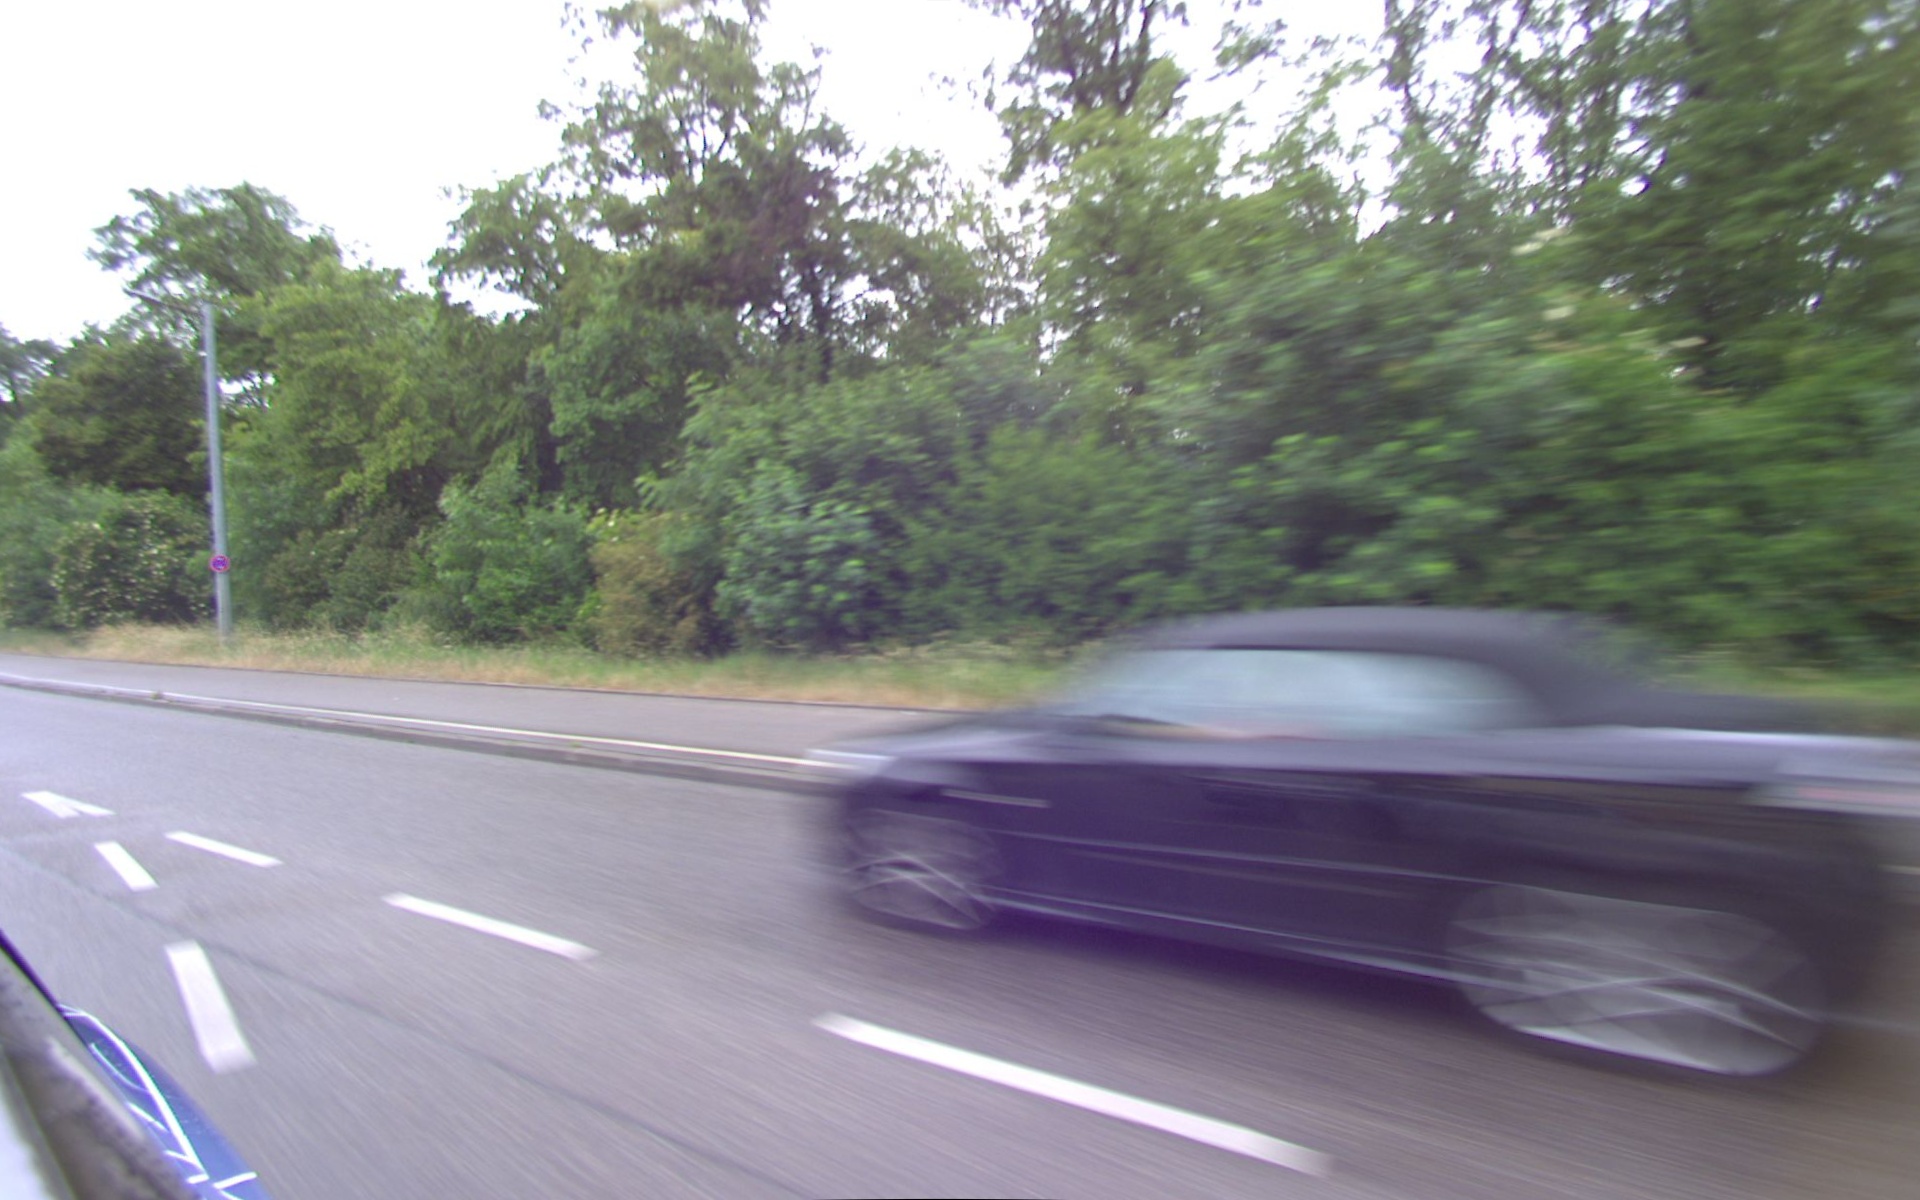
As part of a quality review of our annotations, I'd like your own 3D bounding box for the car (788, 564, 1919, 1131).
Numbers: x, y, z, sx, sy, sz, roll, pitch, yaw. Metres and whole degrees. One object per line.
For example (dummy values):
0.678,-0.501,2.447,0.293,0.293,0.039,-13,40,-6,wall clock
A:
1.503,0.651,4.291,4.400,1.471,1.730,-1,0,33,car
